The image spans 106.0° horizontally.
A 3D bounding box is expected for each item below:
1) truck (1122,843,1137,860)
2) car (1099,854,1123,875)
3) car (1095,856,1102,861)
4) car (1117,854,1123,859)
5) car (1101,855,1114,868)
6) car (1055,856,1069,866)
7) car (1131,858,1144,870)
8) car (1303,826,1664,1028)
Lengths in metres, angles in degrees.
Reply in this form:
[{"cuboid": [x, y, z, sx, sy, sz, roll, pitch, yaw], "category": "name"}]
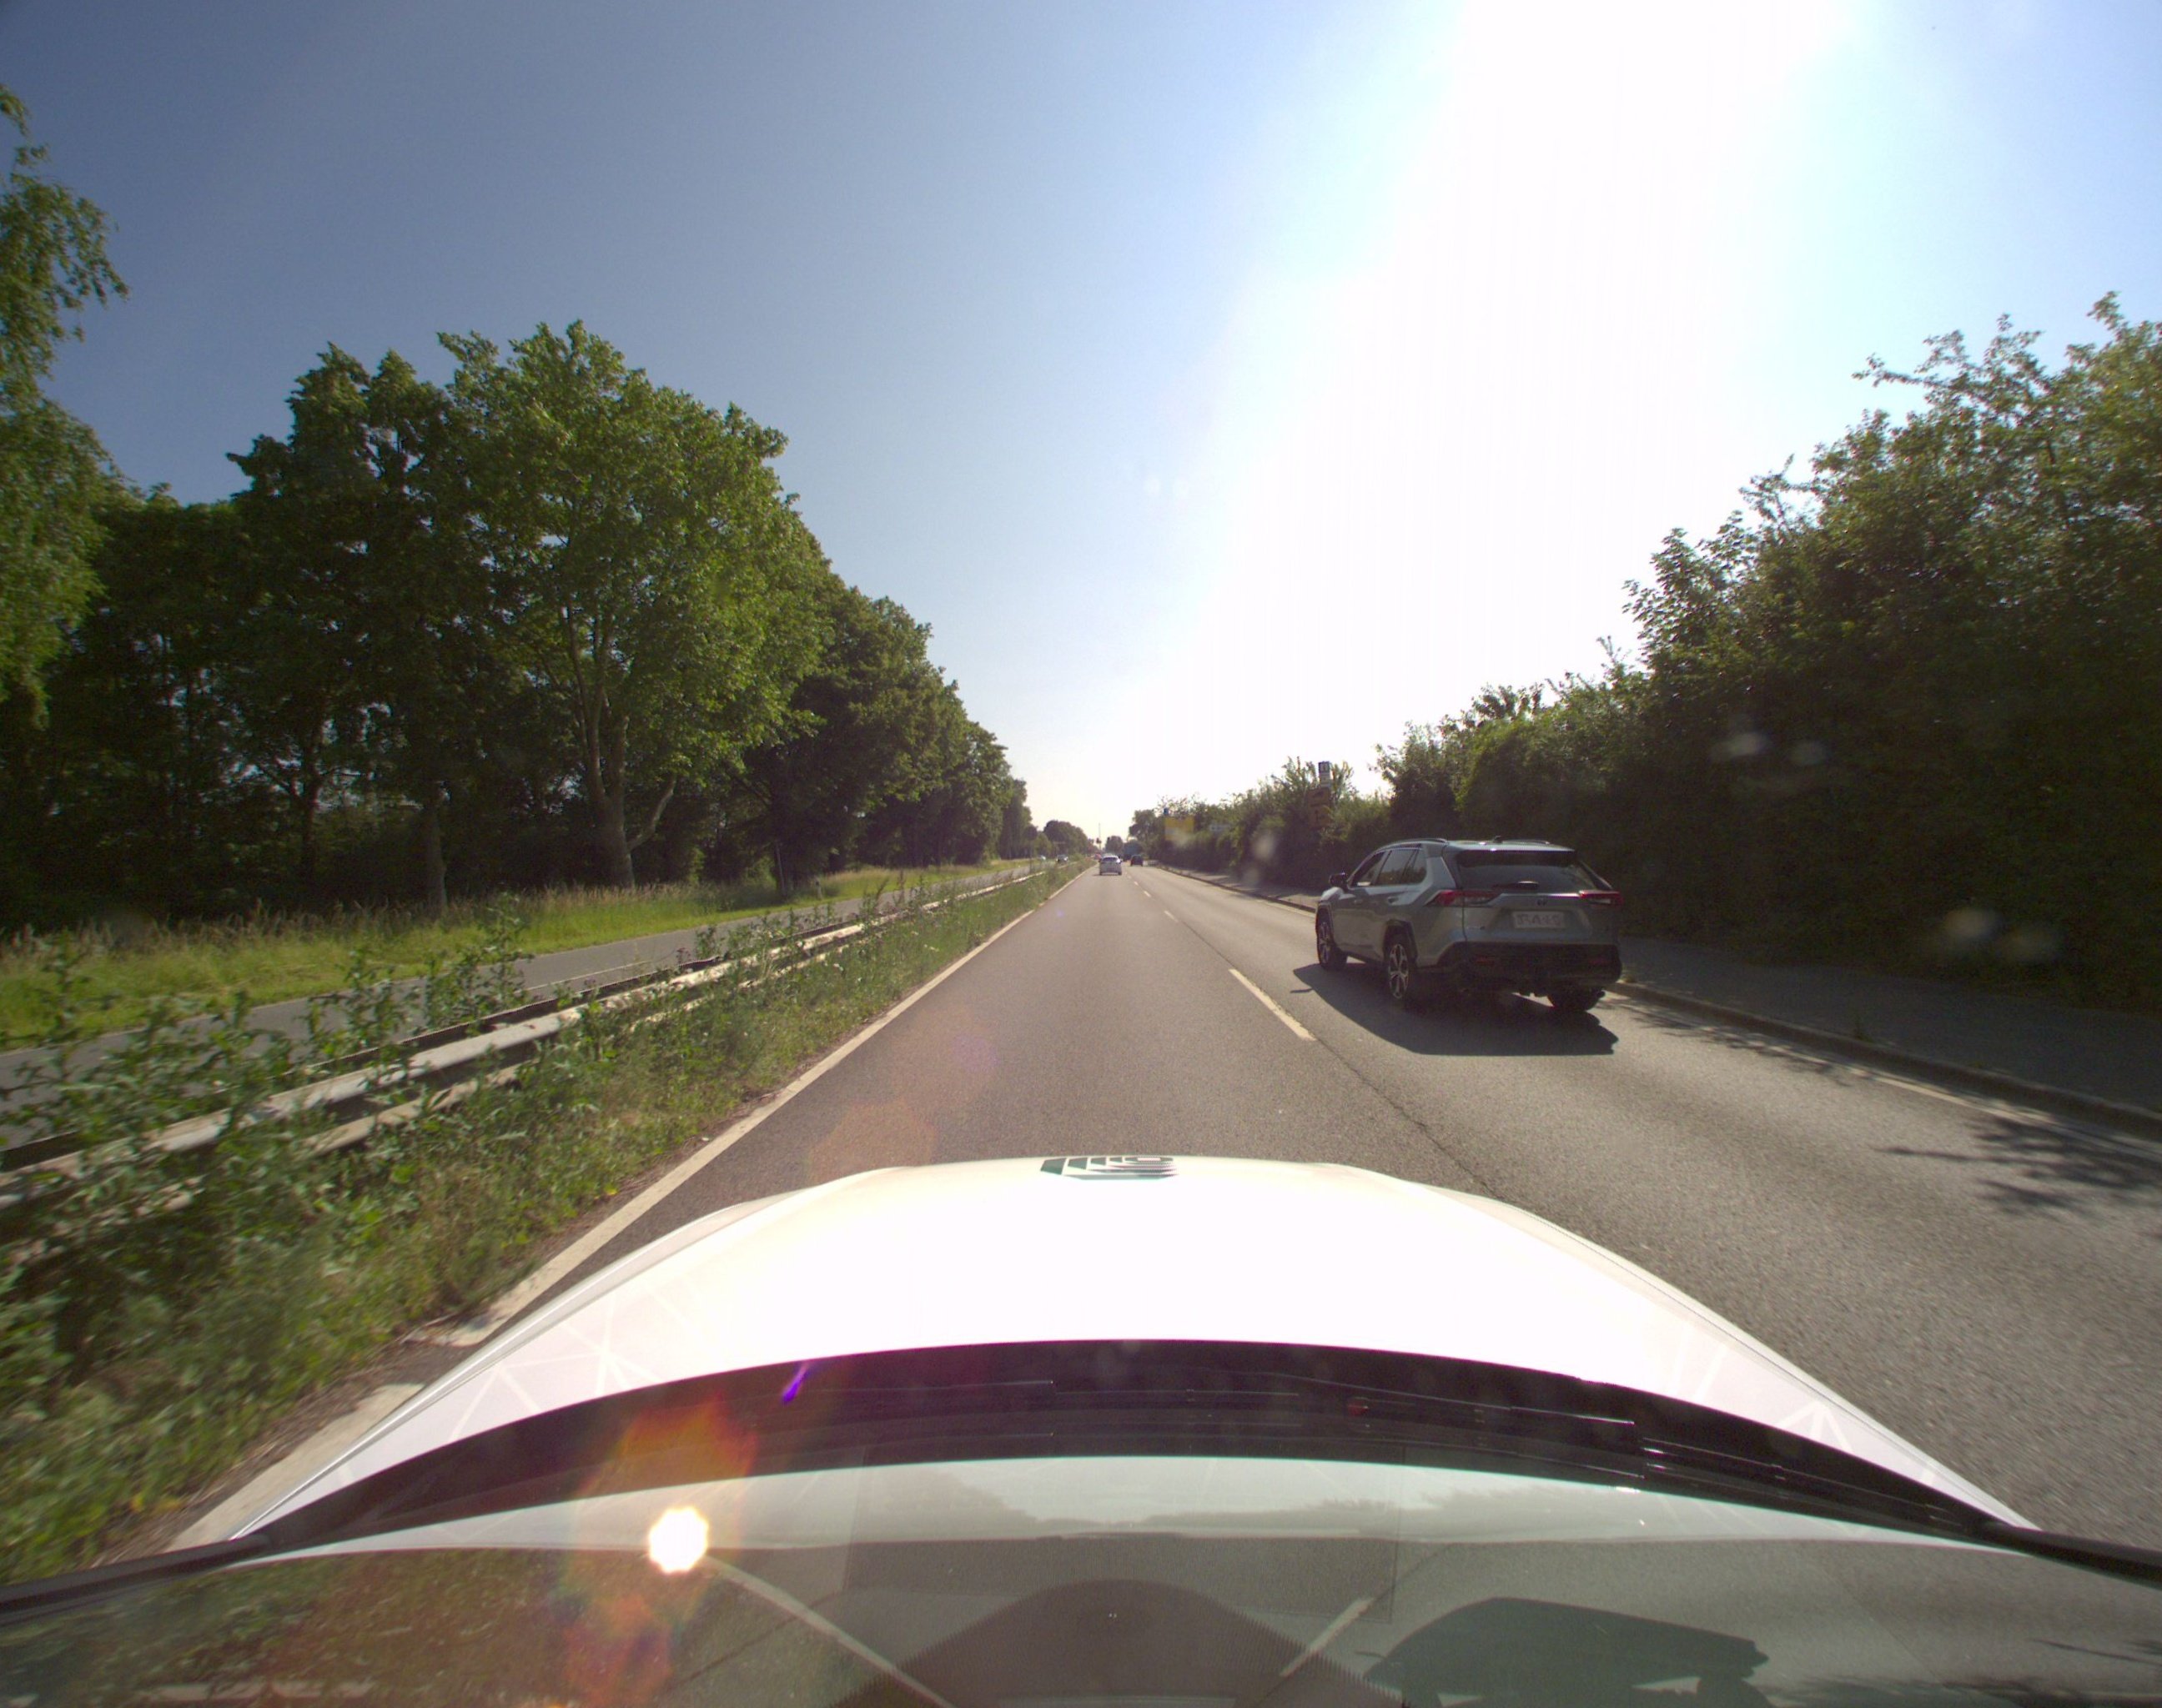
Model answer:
[{"cuboid": [9.699, -0.479, 163.923, 2.880, 3.428, 9.173, -1, 0, 2], "category": "truck"}, {"cuboid": [2.304, 0.752, 62.519, 1.791, 1.553, 4.003, 0, 0, 3], "category": "car"}, {"cuboid": [5.097, 1.276, 235.182, 1.804, 1.464, 4.975, -2, -1, 4], "category": "car"}, {"cuboid": [12.099, 0.792, 251.043, 1.804, 1.464, 4.464, -2, -1, 4], "category": "car"}, {"cuboid": [3.100, 0.880, 94.894, 1.566, 1.414, 3.279, 1, 0, 2], "category": "car"}, {"cuboid": [-2.932, 1.062, 129.062, 1.770, 1.530, 4.166, -2, 0, 4], "category": "car"}, {"cuboid": [7.218, 1.291, 104.167, 1.566, 1.414, 3.279, 0, -1, 2], "category": "car"}, {"cuboid": [4.028, 0.618, 9.200, 1.895, 1.680, 4.685, 0, 0, 2], "category": "car"}]
